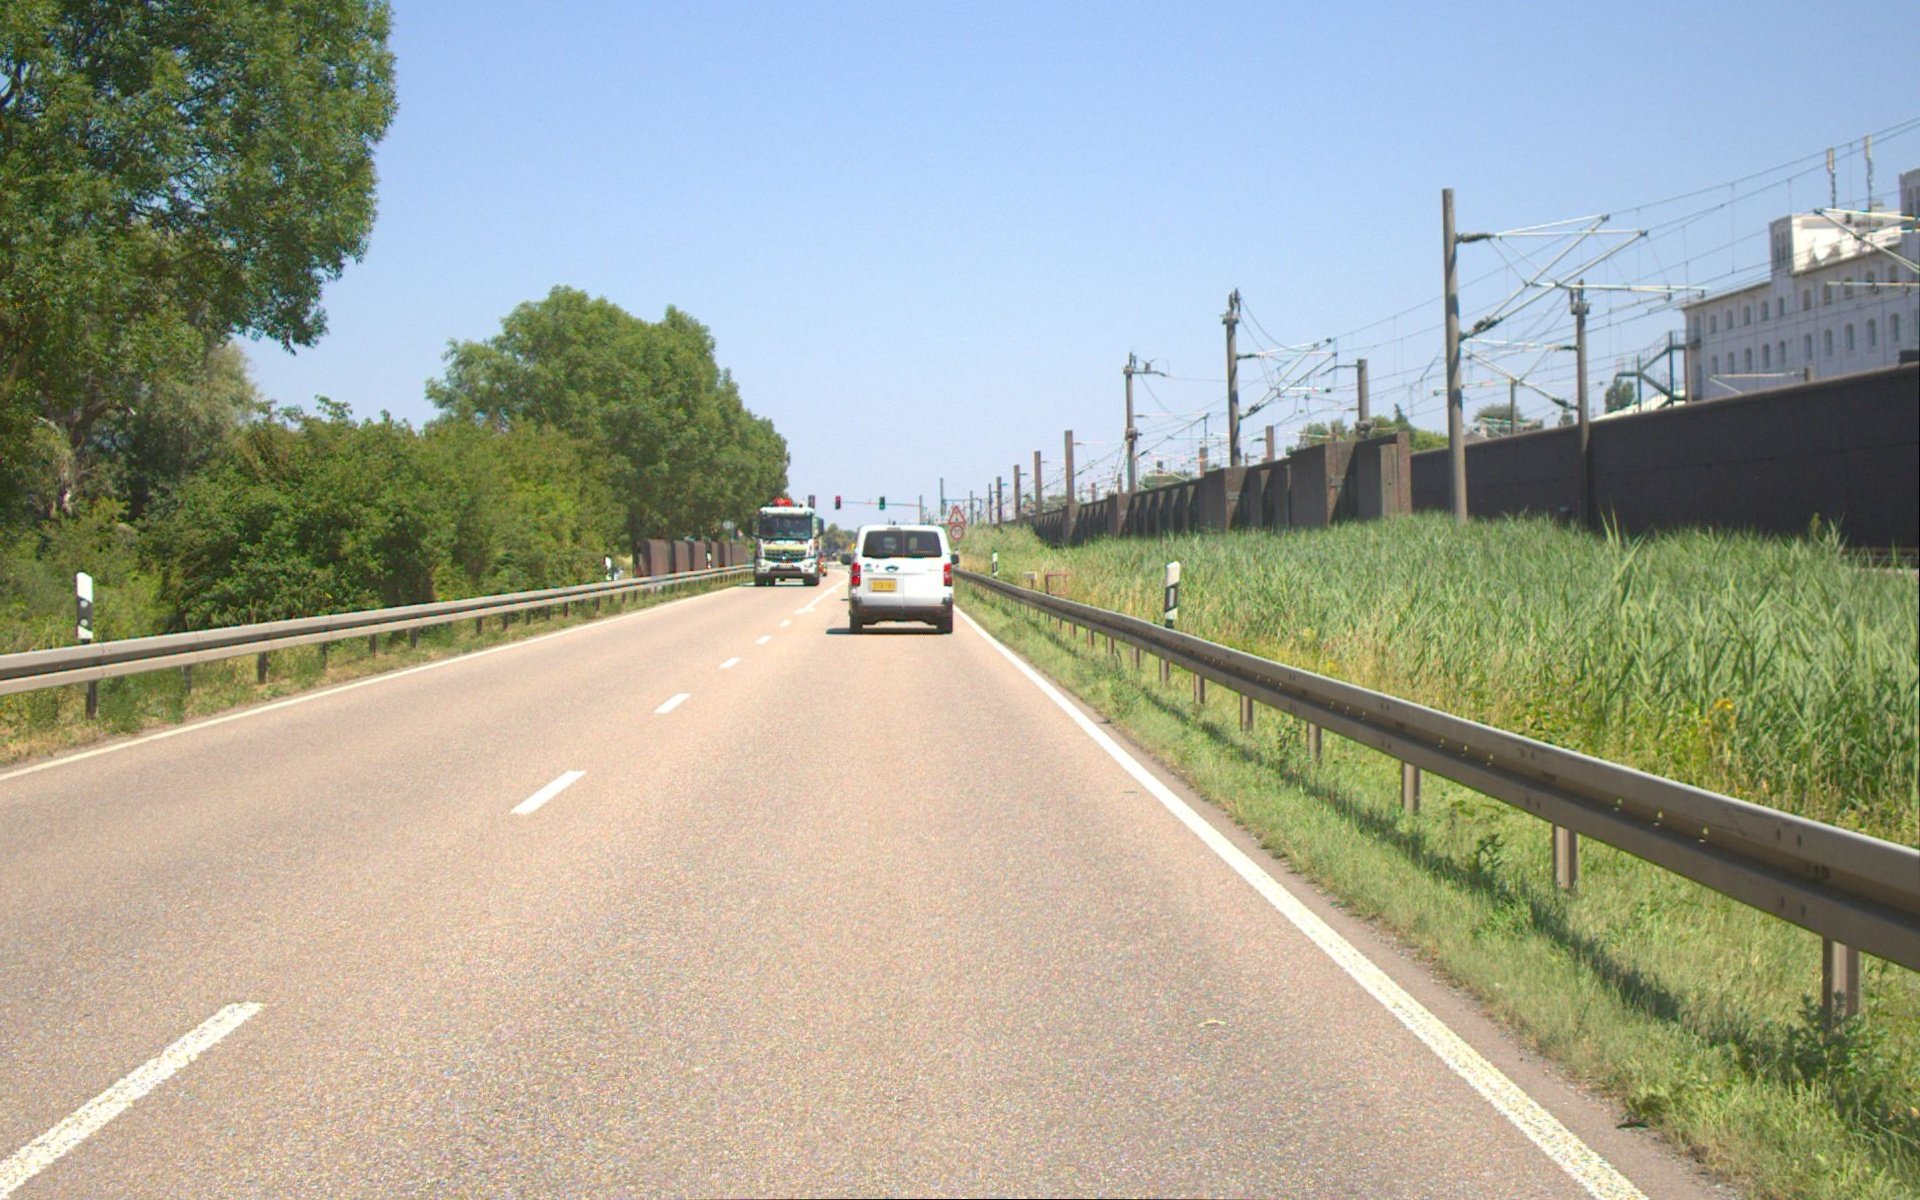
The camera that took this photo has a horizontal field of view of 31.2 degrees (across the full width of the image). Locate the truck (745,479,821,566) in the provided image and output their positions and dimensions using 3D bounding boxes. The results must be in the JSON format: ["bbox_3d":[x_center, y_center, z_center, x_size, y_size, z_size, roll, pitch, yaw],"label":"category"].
[{"bbox_3d":[-7.095,-3.117,138.675,2.783,3.393,7.990,1,1,-1],"label":"truck"}]

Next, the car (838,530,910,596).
[{"bbox_3d":[-2.470,-1.092,99.261,1.993,1.843,4.000,1,1,-1],"label":"car"}]

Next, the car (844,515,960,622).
[{"bbox_3d":[-1.048,-0.594,61.977,1.993,1.843,4.000,1,1,-1],"label":"car"}]
